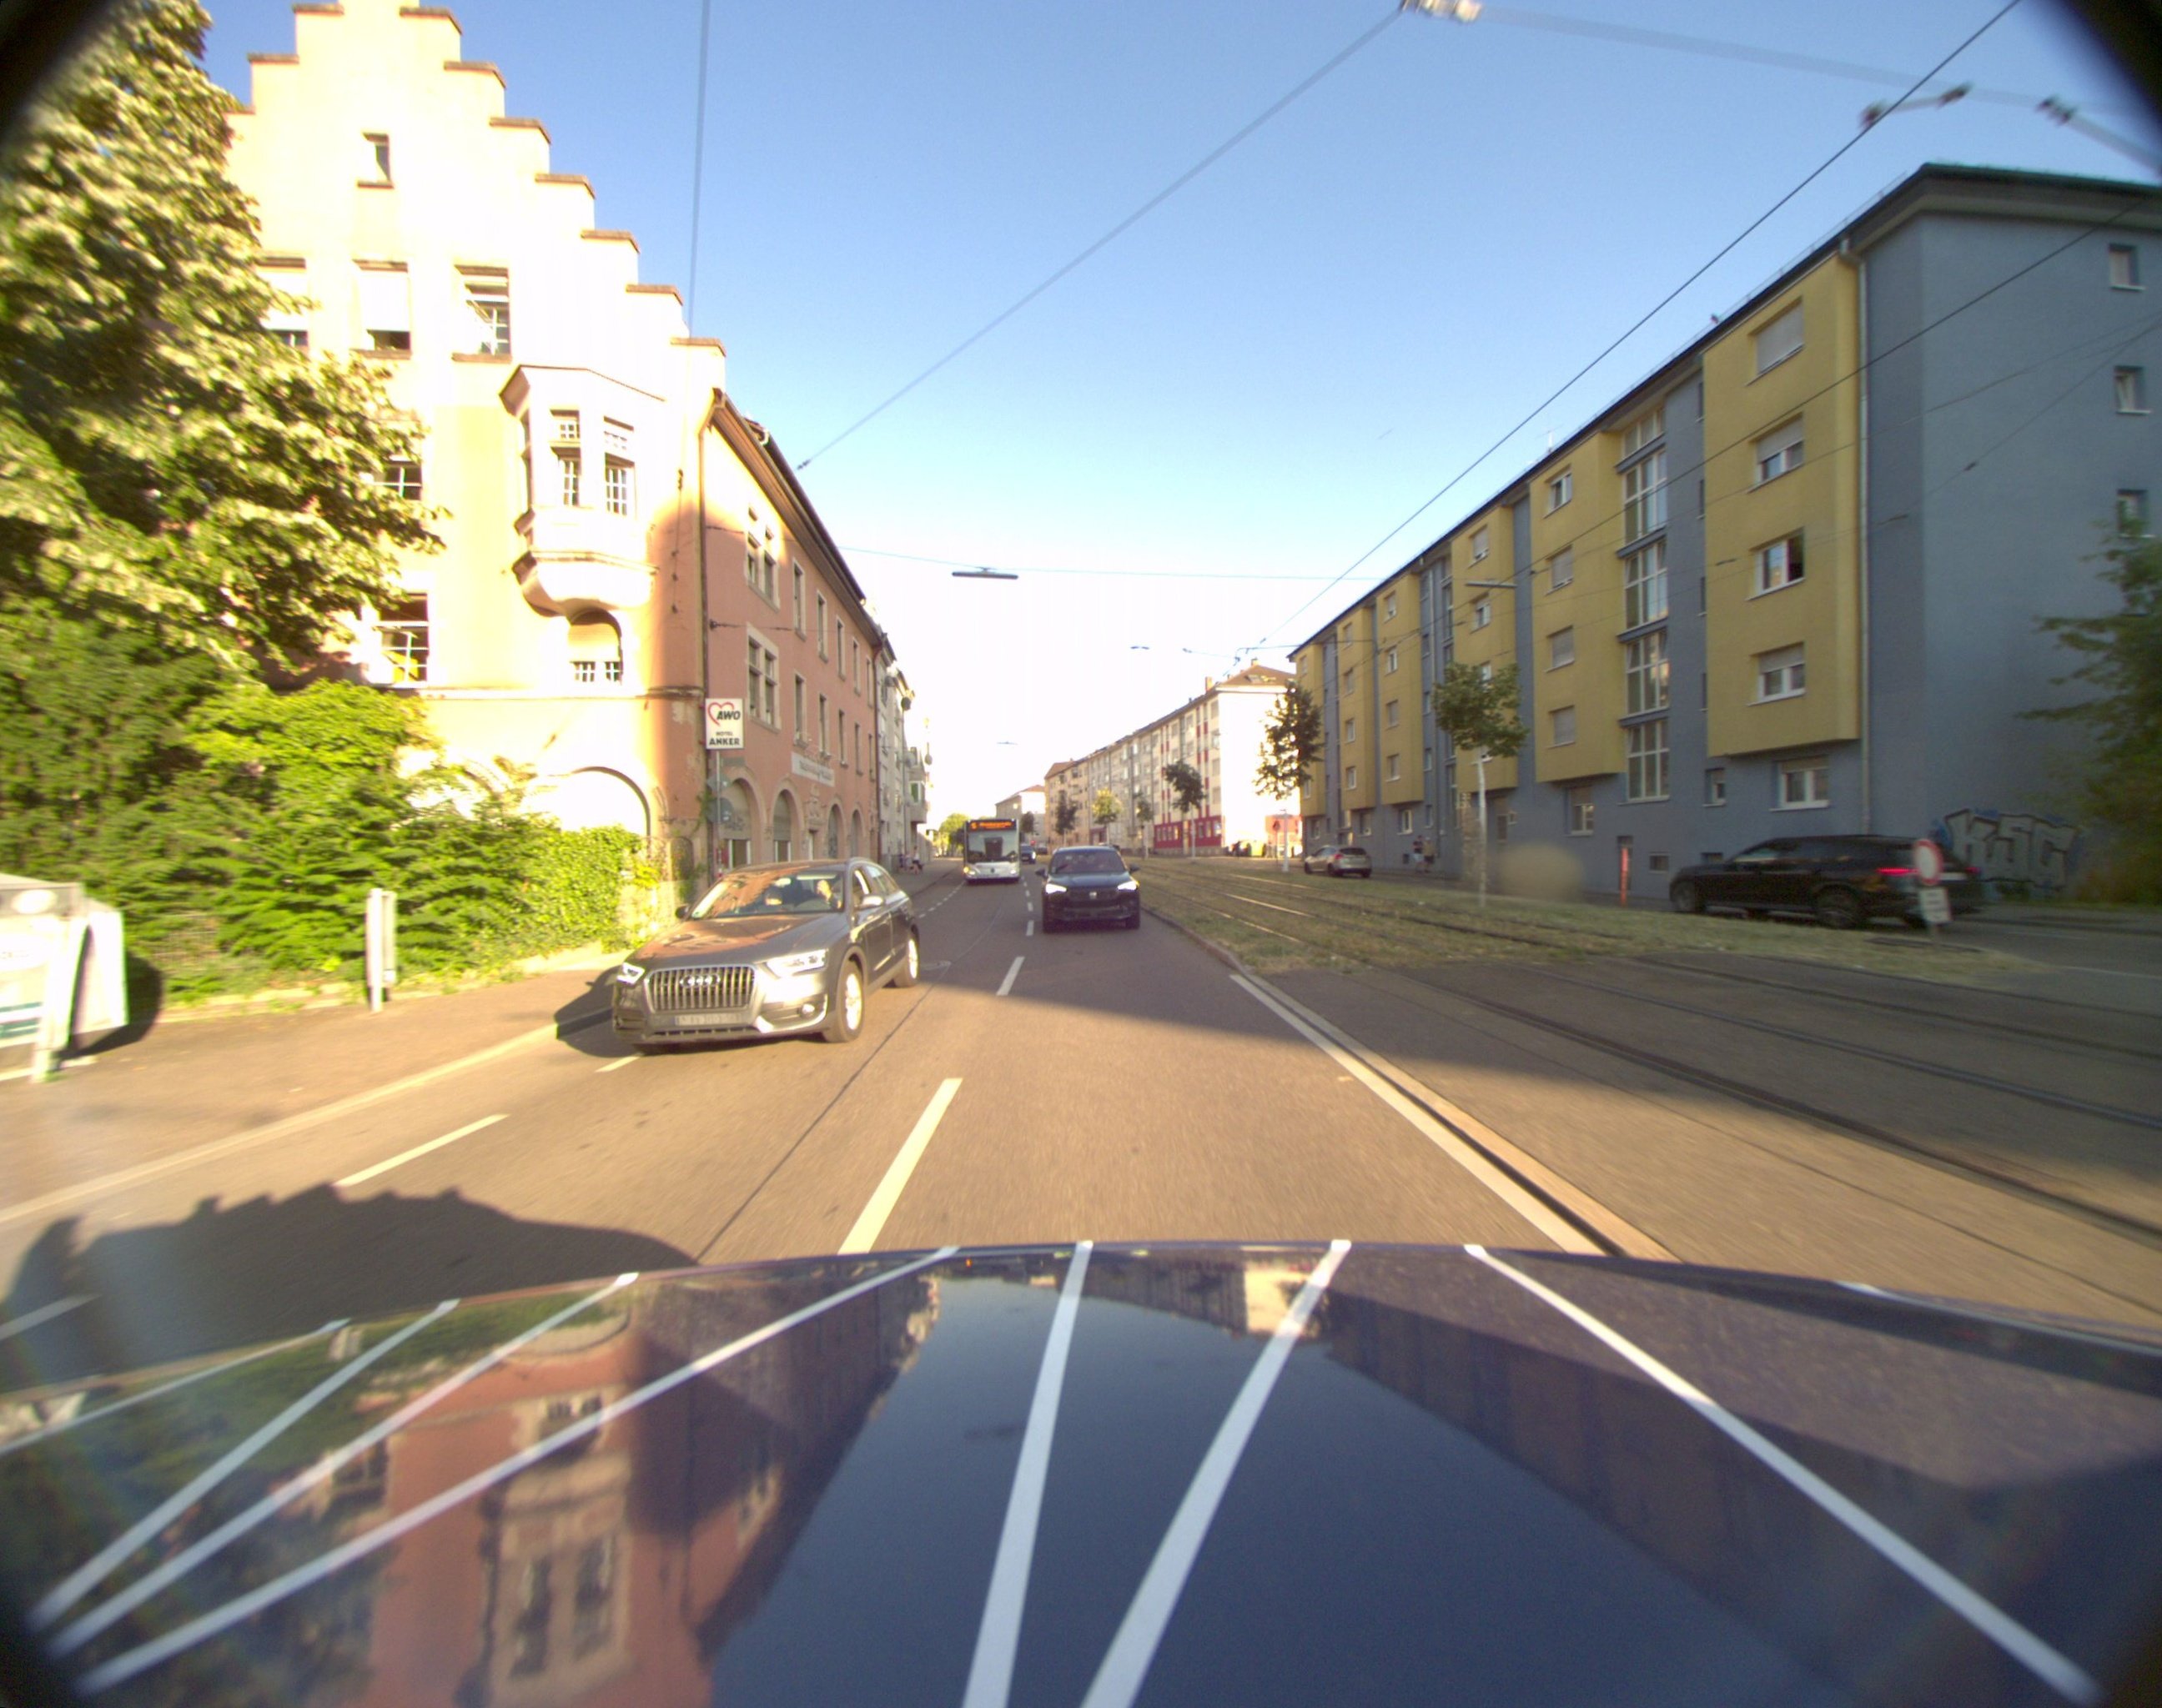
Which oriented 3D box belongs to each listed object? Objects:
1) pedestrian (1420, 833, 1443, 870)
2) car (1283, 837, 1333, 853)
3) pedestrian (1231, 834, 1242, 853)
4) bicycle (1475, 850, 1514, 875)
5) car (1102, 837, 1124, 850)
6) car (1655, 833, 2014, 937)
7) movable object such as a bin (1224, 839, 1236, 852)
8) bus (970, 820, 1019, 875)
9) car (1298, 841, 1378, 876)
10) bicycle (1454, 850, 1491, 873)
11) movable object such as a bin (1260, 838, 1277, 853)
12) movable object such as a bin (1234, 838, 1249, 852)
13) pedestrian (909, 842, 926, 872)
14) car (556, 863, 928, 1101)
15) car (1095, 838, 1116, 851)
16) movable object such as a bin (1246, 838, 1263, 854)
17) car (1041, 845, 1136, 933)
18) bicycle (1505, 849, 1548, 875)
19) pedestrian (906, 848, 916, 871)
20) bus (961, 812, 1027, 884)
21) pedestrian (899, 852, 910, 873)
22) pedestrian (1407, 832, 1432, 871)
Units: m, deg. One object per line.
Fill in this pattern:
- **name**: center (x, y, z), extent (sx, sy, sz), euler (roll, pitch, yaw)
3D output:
- **pedestrian**: center (16.554, -0.123, 35.885), extent (0.618, 1.685, 0.706), euler (-6, 2, -6)
- **car**: center (20.259, -0.792, 67.884), extent (3.874, 1.286, 1.700), euler (-2, 1, -9)
- **pedestrian**: center (13.809, -0.898, 67.472), extent (0.615, 1.680, 0.791), euler (-2, 1, -11)
- **bicycle**: center (17.124, 0.337, 31.500), extent (0.428, 0.920, 1.911), euler (-5, 1, -4)
- **car**: center (3.789, -1.276, 91.130), extent (1.799, 1.461, 4.790), euler (1, 1, -9)
- **car**: center (13.919, 0.487, 14.564), extent (1.924, 1.652, 4.705), euler (0, 0, -7)
- **movable object such as a bin**: center (14.104, -0.793, 71.815), extent (0.869, 1.219, 0.805), euler (-2, 2, -10)
- **bus**: center (-5.548, -0.454, 48.916), extent (2.714, 3.059, 10.592), euler (-2, 1, -6)
- **car**: center (11.679, 0.153, 34.829), extent (1.703, 1.451, 4.312), euler (0, 1, -8)
- **bicycle**: center (16.870, 0.320, 32.754), extent (0.428, 0.920, 1.911), euler (-5, 1, -4)
- **movable object such as a bin**: center (17.453, -0.803, 70.789), extent (1.221, 1.408, 1.107), euler (-2, 2, -10)
- **movable object such as a bin**: center (15.240, -0.832, 72.006), extent (1.162, 1.279, 0.805), euler (-2, 2, -10)
- **pedestrian**: center (-9.619, 0.172, 44.757), extent (0.832, 1.761, 0.995), euler (-1, 1, -6)
- **car**: center (-2.838, 0.945, 7.490), extent (1.771, 1.578, 4.067), euler (-2, 0, 0)
- **car**: center (3.415, -1.334, 107.659), extent (1.873, 1.819, 4.416), euler (-1, 1, -14)
- **movable object such as a bin**: center (16.105, -0.771, 70.562), extent (1.221, 1.408, 1.137), euler (-2, 2, -10)
- **car**: center (0.073, 0.666, 16.926), extent (1.788, 1.615, 4.215), euler (-3, 1, -2)
- **bicycle**: center (17.301, 0.296, 29.571), extent (0.428, 0.954, 1.911), euler (-1, 1, -4)
- **pedestrian**: center (-10.257, 0.341, 45.833), extent (0.516, 1.337, 0.608), euler (0, 2, -10)
- **bus**: center (-4.363, -0.327, 38.372), extent (2.733, 3.059, 10.592), euler (-2, 1, -6)
- **pedestrian**: center (-10.445, 0.493, 44.977), extent (0.589, 1.244, 0.584), euler (-1, 1, -6)
- **pedestrian**: center (15.818, -0.116, 35.519), extent (0.594, 1.763, 0.885), euler (-6, 2, -6)
